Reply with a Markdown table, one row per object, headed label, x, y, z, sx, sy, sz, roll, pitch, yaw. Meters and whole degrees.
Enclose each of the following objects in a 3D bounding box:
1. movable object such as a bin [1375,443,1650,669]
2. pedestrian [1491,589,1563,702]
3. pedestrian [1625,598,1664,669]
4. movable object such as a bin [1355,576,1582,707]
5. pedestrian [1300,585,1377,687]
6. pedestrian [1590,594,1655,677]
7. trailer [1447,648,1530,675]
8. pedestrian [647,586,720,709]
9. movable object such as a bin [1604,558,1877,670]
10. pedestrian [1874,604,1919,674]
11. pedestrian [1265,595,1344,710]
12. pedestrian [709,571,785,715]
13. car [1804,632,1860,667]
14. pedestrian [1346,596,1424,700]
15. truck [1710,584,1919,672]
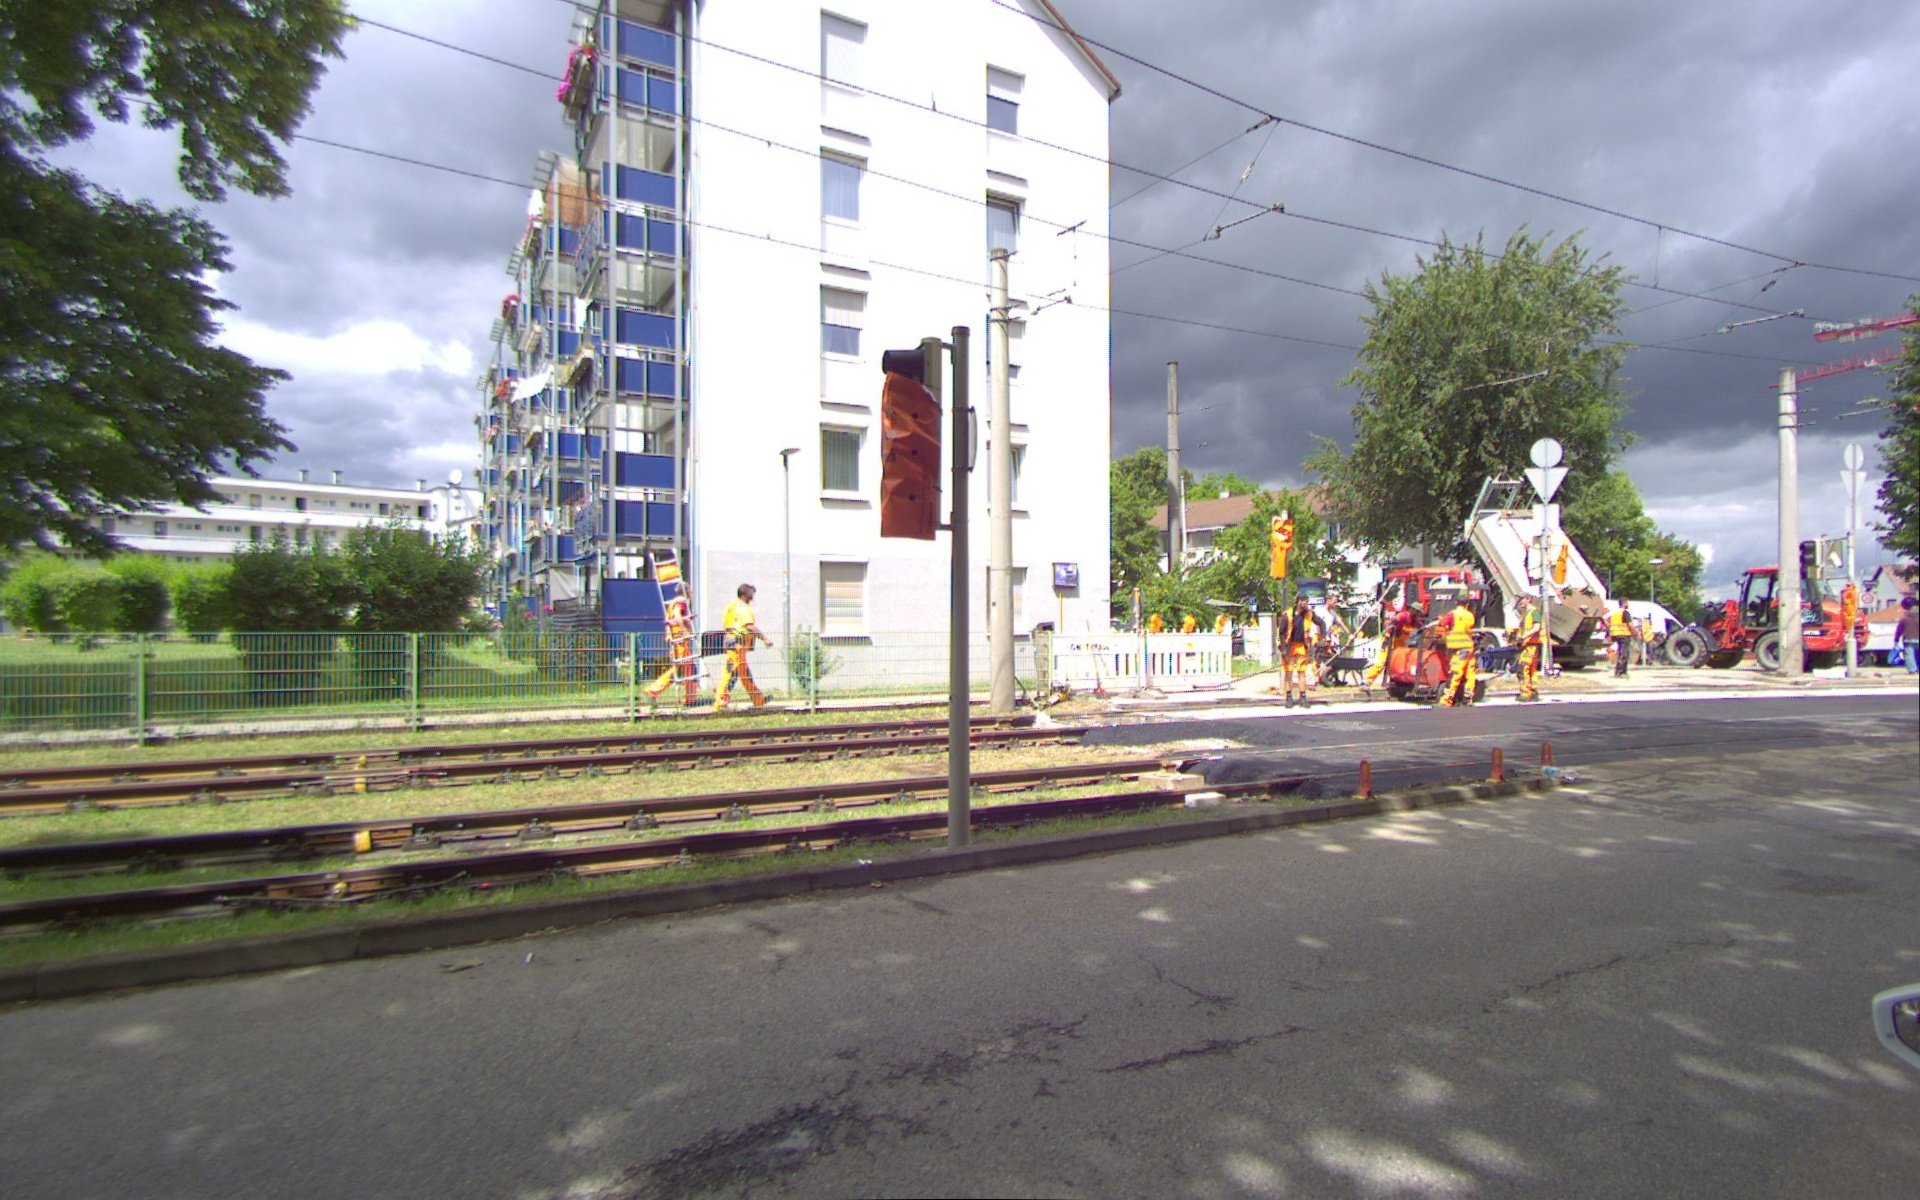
| label | x | y | z | sx | sy | sz | roll | pitch | yaw |
| --- | --- | --- | --- | --- | --- | --- | --- | --- | --- |
| movable object such as a bin | 15.422 | -0.938 | 29.172 | 2.766 | 5.557 | 9.036 | 0 | -2 | -2 |
| pedestrian | 9.640 | 0.766 | 17.092 | 0.760 | 1.863 | 0.777 | 1 | -1 | -32 |
| pedestrian | 17.916 | 0.863 | 26.300 | 0.604 | 1.812 | 0.578 | -1 | 0 | -27 |
| movable object such as a bin | 8.564 | 0.678 | 17.017 | 2.923 | 2.040 | 1.991 | 0 | -1 | -21 |
| pedestrian | 7.129 | 0.670 | 18.976 | 0.860 | 1.848 | 1.092 | 0 | -1 | -17 |
| pedestrian | 15.060 | 0.793 | 22.853 | 0.954 | 1.857 | 0.795 | 1 | 0 | -10 |
| trailer | 12.613 | 1.459 | 23.994 | 1.567 | 0.624 | 0.797 | 0 | -2 | -6 |
| pedestrian | -3.982 | 0.669 | 14.449 | 0.870 | 1.705 | 0.662 | 1 | 0 | -31 |
| movable object such as a bin | 20.840 | 0.380 | 27.187 | 2.086 | 2.704 | 5.555 | 1 | -1 | -24 |
| pedestrian | 23.439 | 0.944 | 24.853 | 0.862 | 1.681 | 0.924 | -1 | -1 | -23 |
| pedestrian | 5.357 | 0.796 | 15.657 | 0.902 | 1.739 | 0.752 | 0 | 0 | -9 |
| pedestrian | -2.976 | 0.588 | 14.026 | 0.870 | 1.933 | 0.662 | 1 | 0 | -29 |
| car | 39.186 | 2.192 | 45.135 | 1.753 | 1.478 | 3.854 | -2 | -3 | 43 |
| pedestrian | 7.339 | 0.810 | 17.364 | 0.904 | 1.739 | 0.856 | 0 | 0 | -19 |
| truck | 28.259 | 1.003 | 32.796 | 2.386 | 2.601 | 5.551 | 0 | -3 | -25 |
